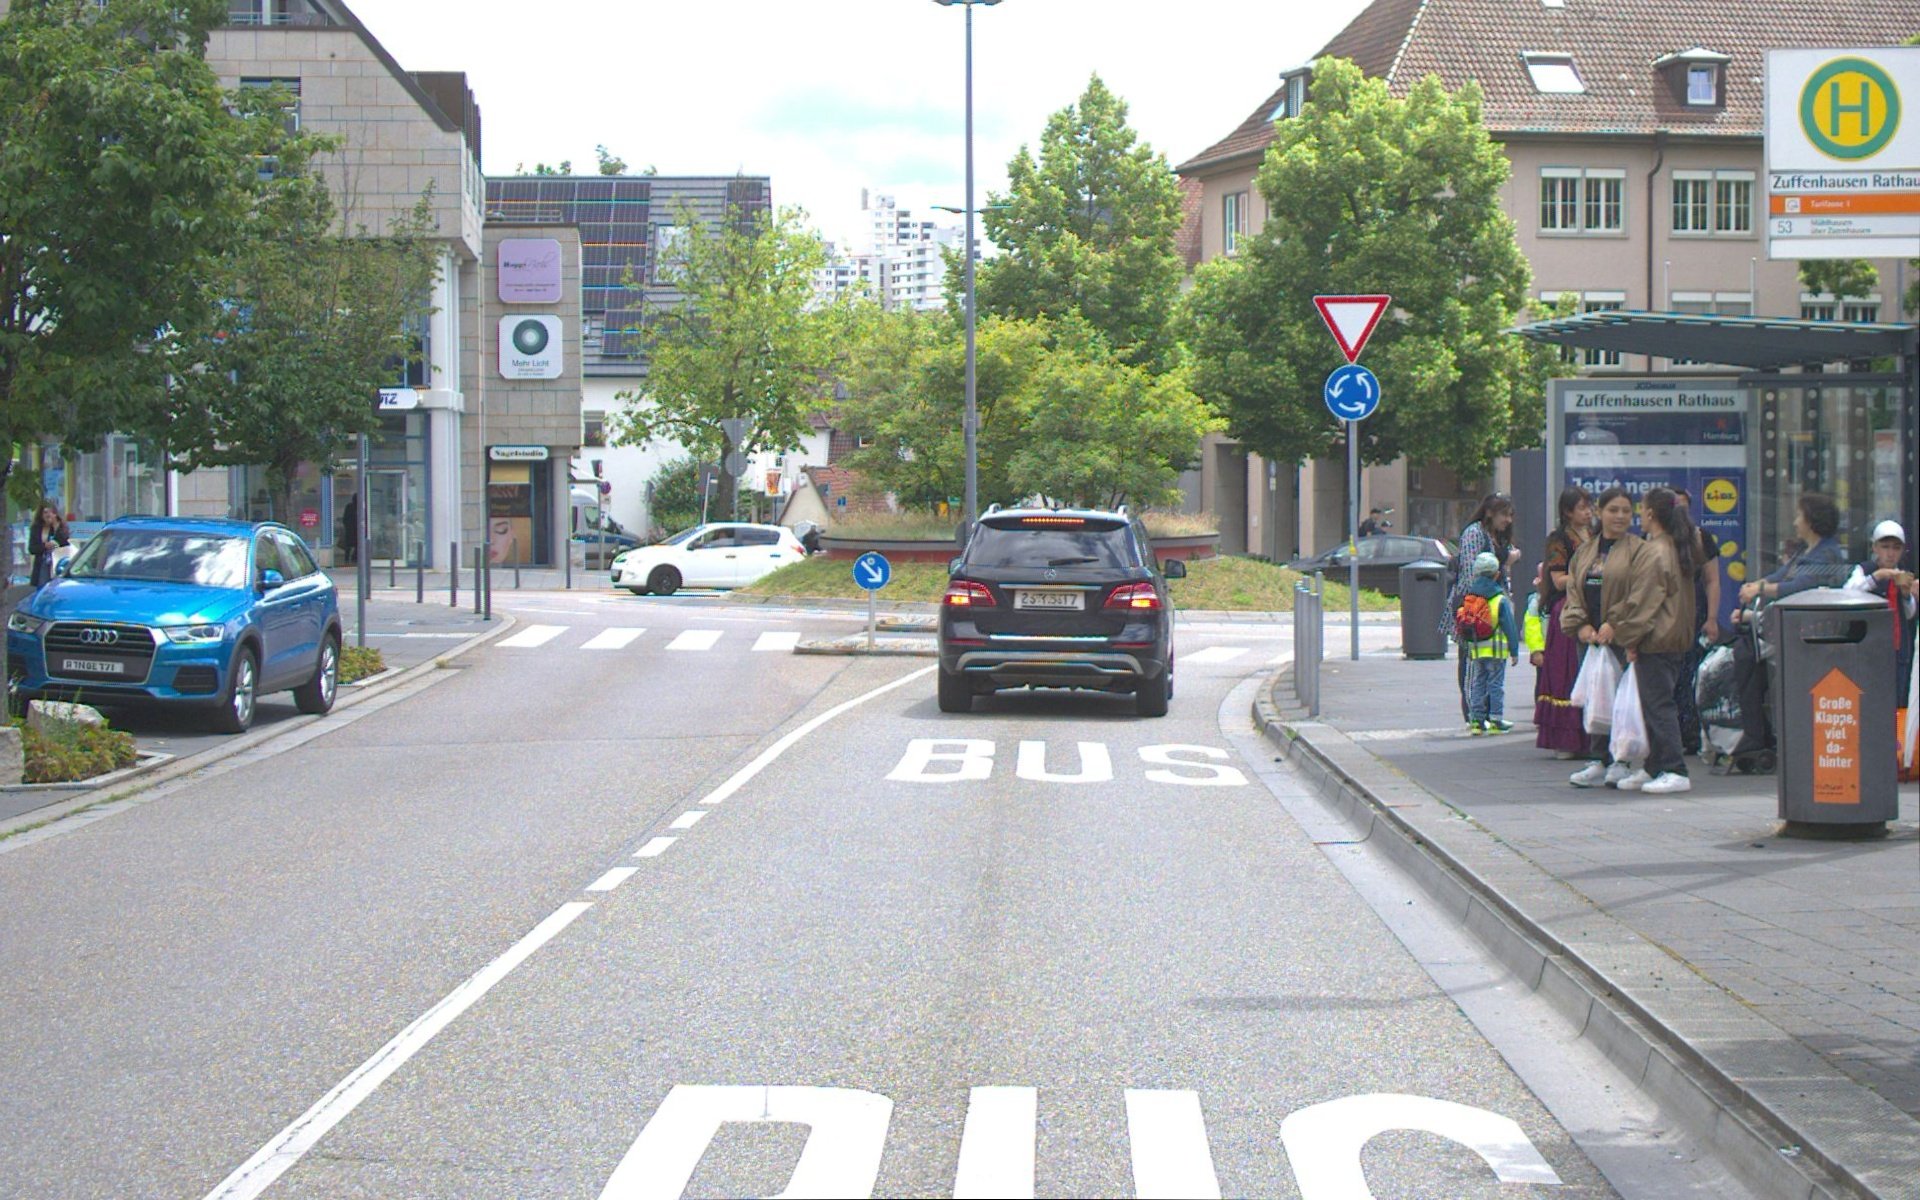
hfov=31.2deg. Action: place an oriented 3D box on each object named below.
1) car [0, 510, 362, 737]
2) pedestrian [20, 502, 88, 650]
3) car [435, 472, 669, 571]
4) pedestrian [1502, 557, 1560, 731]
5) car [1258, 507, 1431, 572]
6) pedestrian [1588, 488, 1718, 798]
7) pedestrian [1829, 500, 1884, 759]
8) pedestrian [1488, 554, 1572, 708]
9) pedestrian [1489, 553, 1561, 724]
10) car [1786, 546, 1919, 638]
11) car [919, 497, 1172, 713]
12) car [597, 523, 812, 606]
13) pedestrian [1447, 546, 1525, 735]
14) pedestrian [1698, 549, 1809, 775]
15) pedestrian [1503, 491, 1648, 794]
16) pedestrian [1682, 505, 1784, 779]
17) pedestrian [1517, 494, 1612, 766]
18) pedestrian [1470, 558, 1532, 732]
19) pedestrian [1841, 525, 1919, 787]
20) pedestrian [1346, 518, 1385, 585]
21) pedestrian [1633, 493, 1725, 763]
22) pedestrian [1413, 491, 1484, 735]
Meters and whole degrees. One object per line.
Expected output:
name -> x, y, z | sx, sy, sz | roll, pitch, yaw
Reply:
car -> -6.138, 0.132, 27.462 | 1.694, 1.594, 4.331 | 3, 1, 3
pedestrian -> -9.831, -0.266, 37.316 | 0.587, 1.582, 0.639 | 1, 1, -4
car -> -11.697, -2.232, 98.691 | 6.283, 2.551, 2.207 | 2, -2, -20
pedestrian -> 3.825, 0.290, 23.026 | 0.297, 1.148, 0.293 | -2, 1, -1
car -> 9.474, -1.498, 84.693 | 3.870, 1.526, 1.659 | -2, 1, -21
pedestrian -> 3.521, 0.208, 17.458 | 0.513, 1.544, 0.486 | 0, 1, 27
pedestrian -> 5.090, 0.163, 19.521 | 0.274, 1.453, 0.320 | -1, 1, 13
pedestrian -> 4.402, 0.240, 26.543 | 0.476, 1.168, 0.390 | -1, 1, 39
pedestrian -> 3.867, 0.263, 23.541 | 0.318, 1.148, 0.321 | -3, 1, -38
car -> 14.817, -0.155, 54.047 | 3.825, 1.378, 1.613 | -1, 2, -41
car -> 0.811, 0.068, 29.953 | 2.027, 1.721, 4.432 | 1, -1, 3
car -> -5.022, -0.701, 67.615 | 3.870, 1.526, 1.659 | -2, 1, -21
pedestrian -> 3.454, 0.260, 22.562 | 0.403, 1.222, 0.388 | -1, 1, 23
pedestrian -> 4.377, 0.333, 18.985 | 0.377, 1.207, 0.634 | -2, 1, -5
pedestrian -> 3.206, 0.209, 17.902 | 0.543, 1.544, 0.485 | 0, 2, 45
pedestrian -> 4.139, 0.218, 18.421 | 0.377, 1.437, 0.416 | -2, 1, -5
pedestrian -> 3.526, 0.167, 20.038 | 0.496, 1.560, 0.501 | -1, 1, 13
pedestrian -> 3.654, 0.301, 23.210 | 0.263, 1.157, 0.271 | -3, 1, -36
pedestrian -> 4.734, 0.279, 17.477 | 0.389, 1.301, 0.355 | -2, 1, 3
pedestrian -> 9.476, -1.140, 80.343 | 0.575, 1.518, 0.639 | -2, 6, -31
pedestrian -> 4.215, 0.159, 20.147 | 0.394, 1.560, 0.351 | 0, 1, 38
pedestrian -> 3.289, 0.080, 23.134 | 0.387, 1.614, 0.469 | -2, 1, 11
